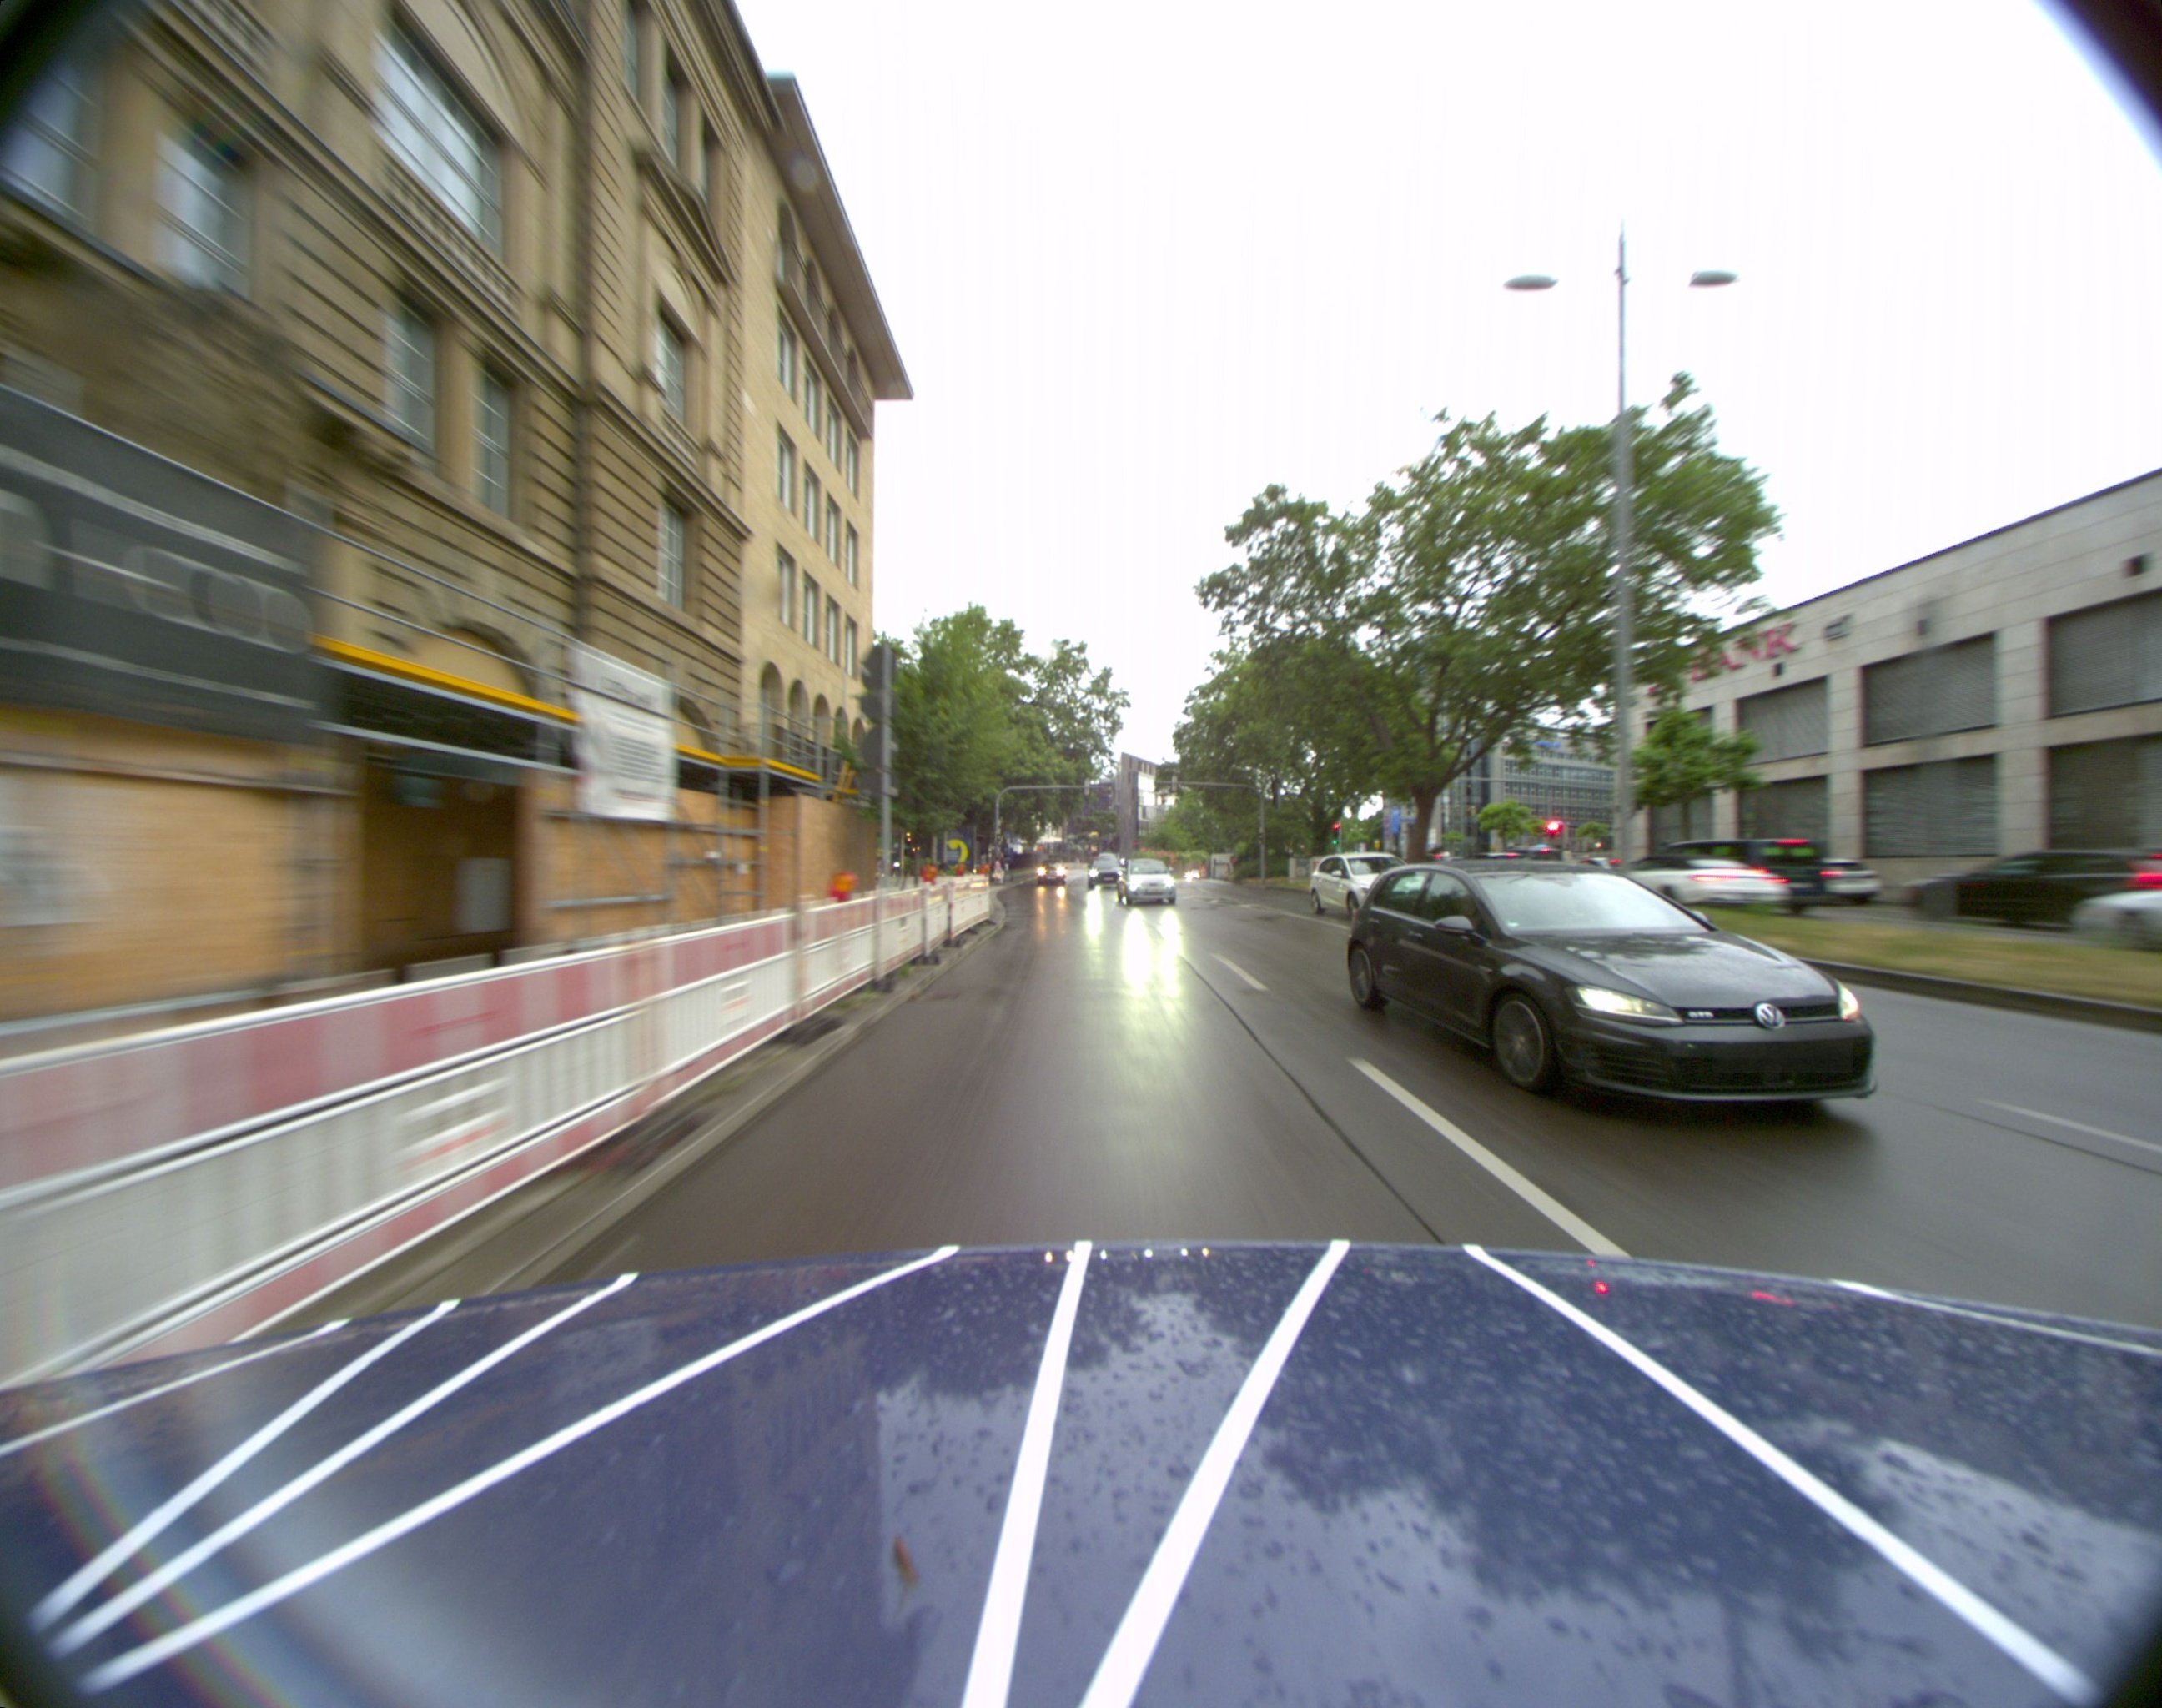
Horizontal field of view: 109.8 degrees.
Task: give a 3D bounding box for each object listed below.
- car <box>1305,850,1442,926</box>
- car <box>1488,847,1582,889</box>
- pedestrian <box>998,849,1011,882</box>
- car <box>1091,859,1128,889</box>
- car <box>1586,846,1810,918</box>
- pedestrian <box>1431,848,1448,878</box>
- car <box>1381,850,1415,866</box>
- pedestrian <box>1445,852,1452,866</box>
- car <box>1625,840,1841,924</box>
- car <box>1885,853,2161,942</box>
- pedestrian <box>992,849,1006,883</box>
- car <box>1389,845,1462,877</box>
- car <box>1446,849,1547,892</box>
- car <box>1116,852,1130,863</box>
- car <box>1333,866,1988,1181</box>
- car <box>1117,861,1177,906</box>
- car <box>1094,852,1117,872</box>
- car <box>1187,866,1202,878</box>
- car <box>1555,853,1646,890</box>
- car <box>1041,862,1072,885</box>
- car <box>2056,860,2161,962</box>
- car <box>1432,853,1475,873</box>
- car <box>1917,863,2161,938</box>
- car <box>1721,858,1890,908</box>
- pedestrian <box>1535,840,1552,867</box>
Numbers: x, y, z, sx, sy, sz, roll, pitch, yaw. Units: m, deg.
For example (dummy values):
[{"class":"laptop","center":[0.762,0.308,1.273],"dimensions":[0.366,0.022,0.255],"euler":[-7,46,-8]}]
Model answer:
[{"class":"car","center":[6.931,0.725,18.469],"dimensions":[1.781,1.587,3.999],"euler":[-1,1,0]},{"class":"car","center":[18.862,0.526,31.799],"dimensions":[1.834,1.630,4.093],"euler":[0,1,7]},{"class":"pedestrian","center":[-4.271,0.637,42.557],"dimensions":[0.634,1.824,0.563],"euler":[0,1,5]},{"class":"car","center":[1.535,1.000,39.932],"dimensions":[1.715,1.433,3.496],"euler":[1,0,6]},{"class":"car","center":[13.931,0.549,17.562],"dimensions":[1.864,1.434,4.314],"euler":[0,1,4]},{"class":"pedestrian","center":[18.960,0.484,40.215],"dimensions":[0.449,1.604,0.640],"euler":[-1,0,-29]},{"class":"car","center":[30.802,0.372,73.973],"dimensions":[2.010,1.525,4.713],"euler":[0,1,9]},{"class":"pedestrian","center":[42.409,0.541,87.642],"dimensions":[0.577,1.618,0.564],"euler":[0,1,40]},{"class":"car","center":[17.334,0.636,20.624],"dimensions":[1.835,1.991,5.105],"euler":[0,1,6]},{"class":"car","center":[20.038,0.785,15.893],"dimensions":[1.730,1.523,4.640],"euler":[0,1,4]},{"class":"pedestrian","center":[-4.492,0.651,41.684],"dimensions":[0.592,1.824,0.628],"euler":[-1,2,-26]},{"class":"car","center":[15.379,0.260,34.134],"dimensions":[1.751,1.357,4.132],"euler":[0,1,6]},{"class":"car","center":[14.584,0.532,26.931],"dimensions":[1.751,1.357,3.944],"euler":[0,1,6]},{"class":"car","center":[6.790,0.571,122.625],"dimensions":[1.997,1.734,3.912],"euler":[-1,0,8]},{"class":"car","center":[3.537,0.862,5.787],"dimensions":[1.789,1.444,4.122],"euler":[-1,0,-1]},{"class":"car","center":[2.273,0.996,26.895],"dimensions":[1.612,1.432,3.493],"euler":[-1,0,-3]},{"class":"car","center":[2.241,0.668,68.502],"dimensions":[1.998,1.734,3.910],"euler":[-1,0,2]},{"class":"car","center":[14.657,2.314,97.653],"dimensions":[1.715,1.432,3.497],"euler":[-1,0,11]},{"class":"car","center":[21.675,0.700,31.868],"dimensions":[1.755,1.455,3.485],"euler":[0,0,7]},{"class":"car","center":[-1.428,1.142,45.190],"dimensions":[1.716,1.274,3.494],"euler":[0,0,0]},{"class":"car","center":[16.358,0.849,9.932],"dimensions":[1.730,1.424,4.396],"euler":[0,1,4]},{"class":"car","center":[27.920,0.665,57.089],"dimensions":[1.845,1.373,4.044],"euler":[0,1,10]},{"class":"car","center":[22.818,0.964,17.722],"dimensions":[1.751,1.407,4.706],"euler":[0,1,6]},{"class":"car","center":[23.543,0.872,24.941],"dimensions":[1.751,1.407,4.295],"euler":[0,1,6]},{"class":"pedestrian","center":[33.697,-0.039,55.370],"dimensions":[0.589,1.913,1.125],"euler":[-2,0,1]}]
